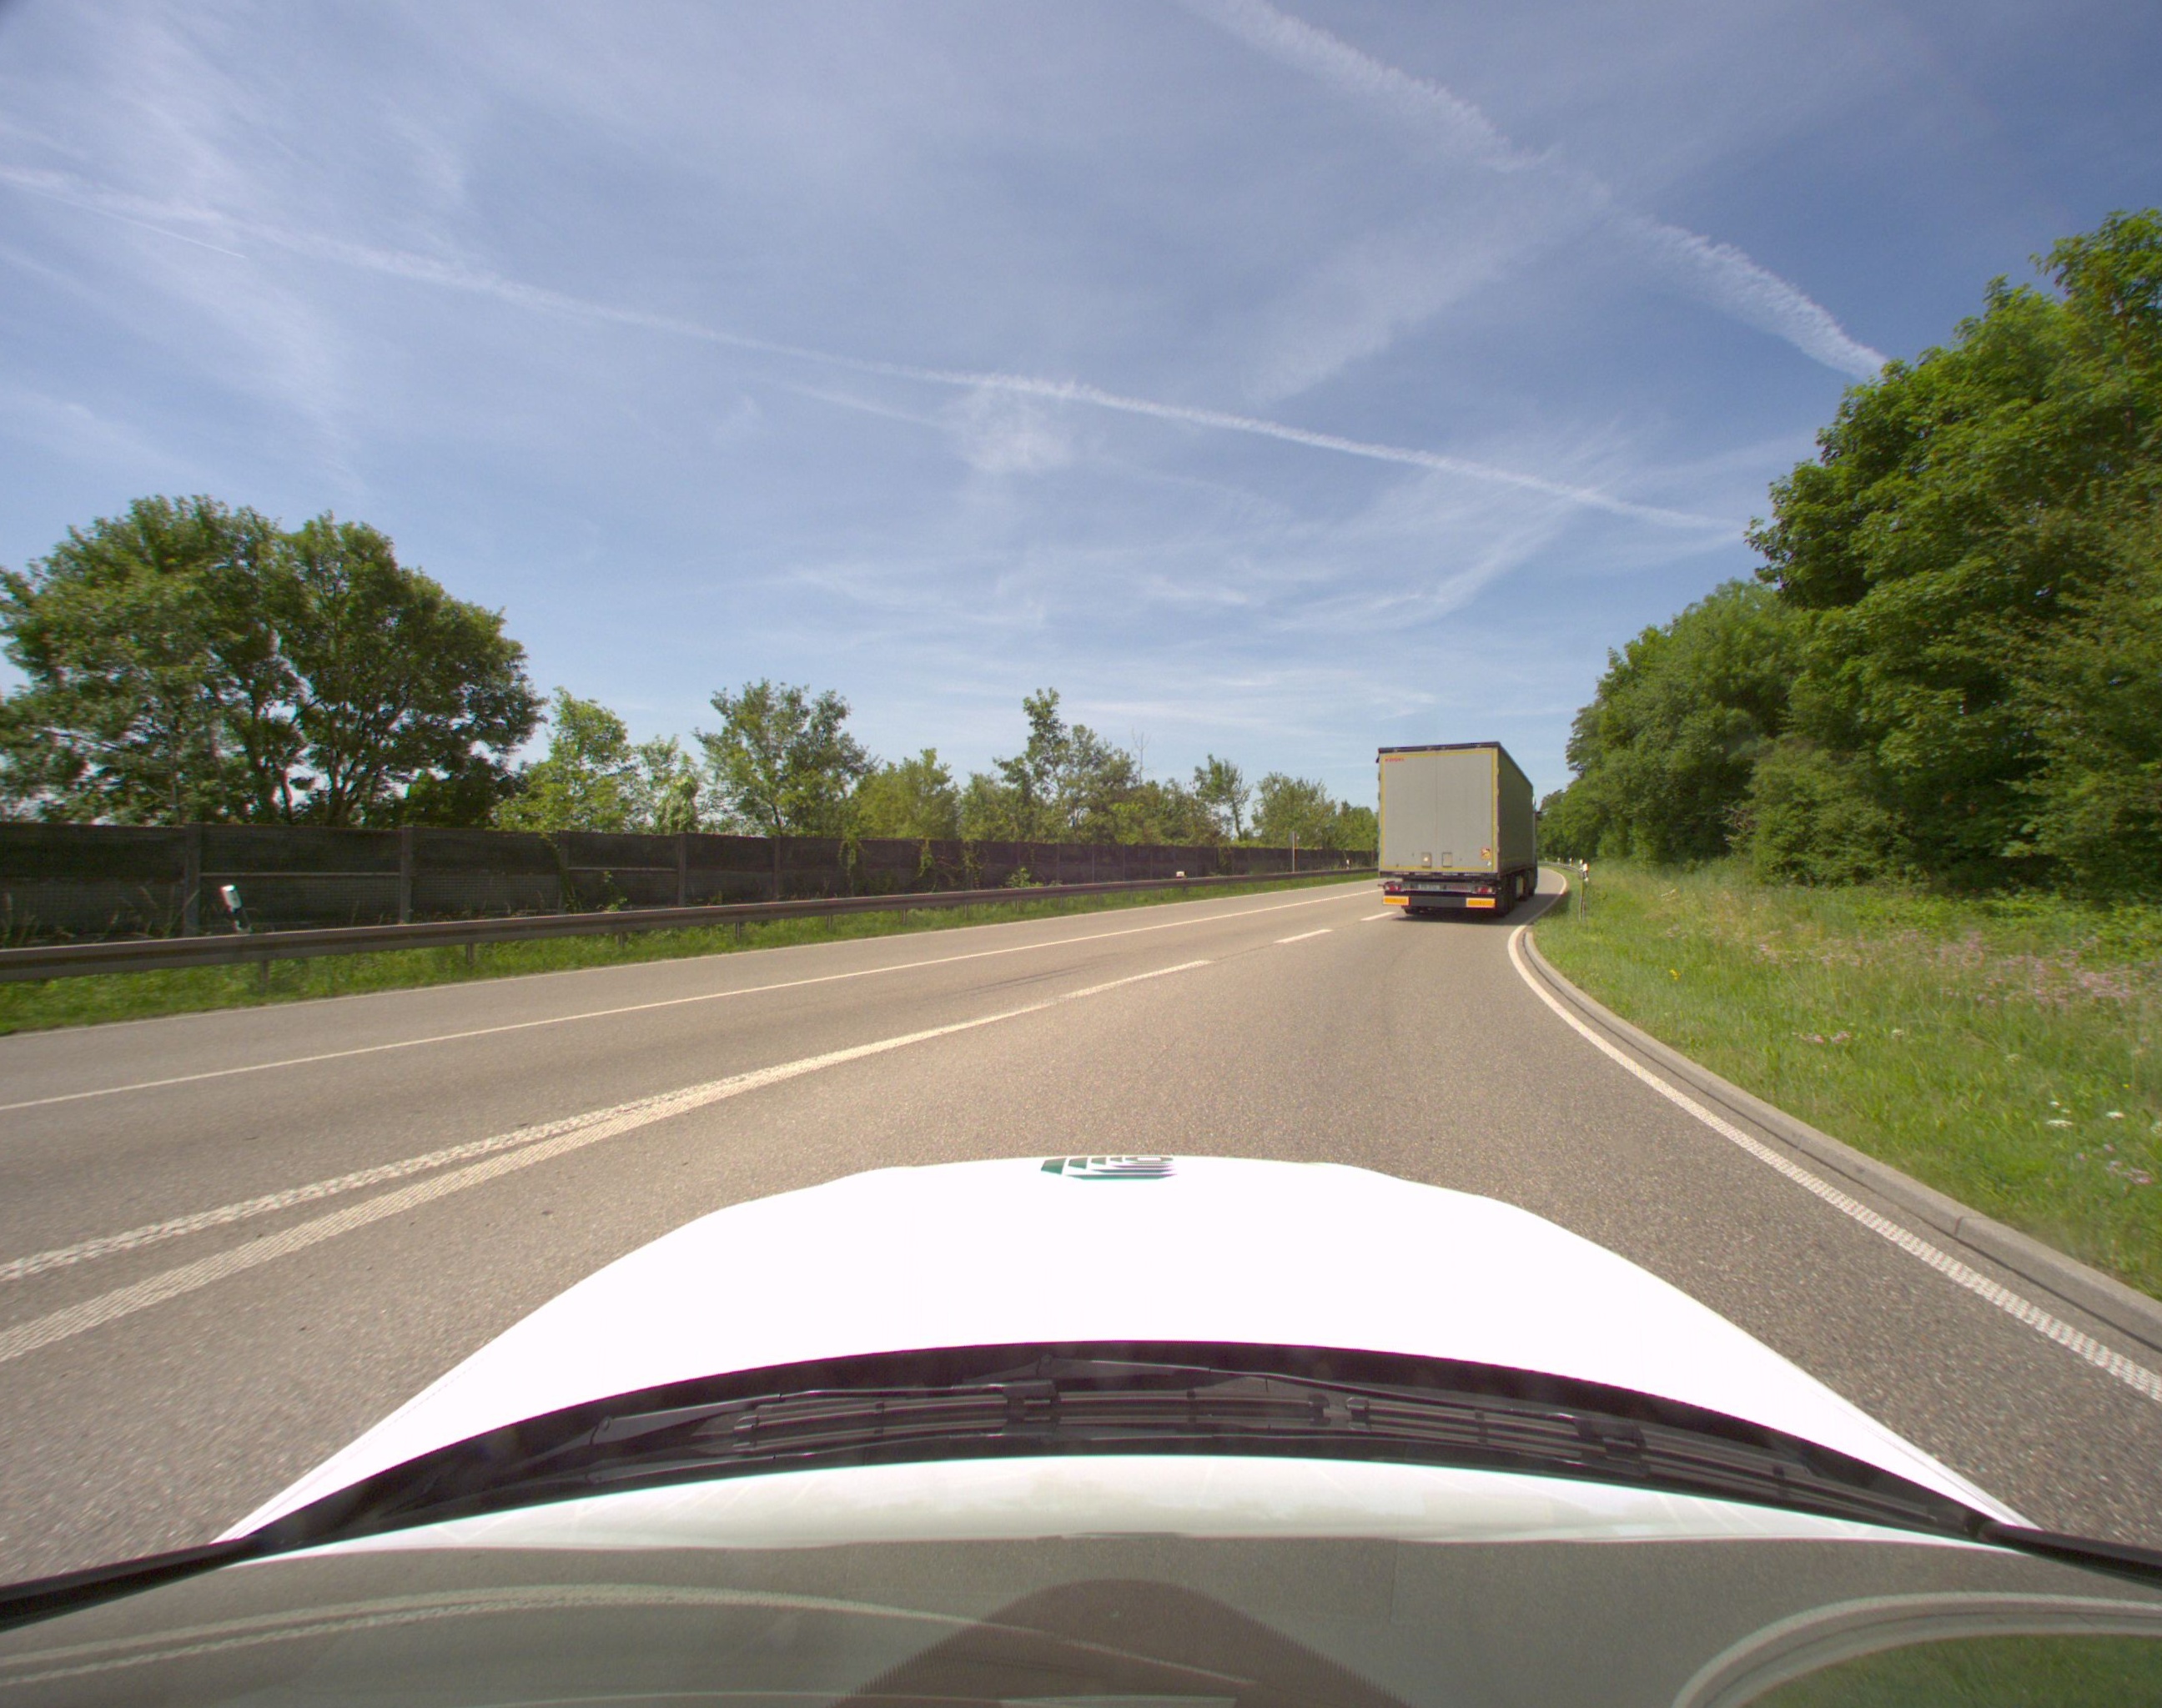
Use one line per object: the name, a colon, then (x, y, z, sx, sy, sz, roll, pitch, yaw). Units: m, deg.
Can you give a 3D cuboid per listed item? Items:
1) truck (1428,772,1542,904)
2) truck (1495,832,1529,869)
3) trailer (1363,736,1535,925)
truck: (15.069, -0.487, 30.046, 3.122, 4.225, 7.166, 0, -1, 31)
truck: (59.731, -0.445, 112.579, 3.792, 4.744, 16.302, 0, 0, 29)
trailer: (11.281, -0.445, 23.818, 2.998, 4.035, 13.435, 0, -1, 31)
